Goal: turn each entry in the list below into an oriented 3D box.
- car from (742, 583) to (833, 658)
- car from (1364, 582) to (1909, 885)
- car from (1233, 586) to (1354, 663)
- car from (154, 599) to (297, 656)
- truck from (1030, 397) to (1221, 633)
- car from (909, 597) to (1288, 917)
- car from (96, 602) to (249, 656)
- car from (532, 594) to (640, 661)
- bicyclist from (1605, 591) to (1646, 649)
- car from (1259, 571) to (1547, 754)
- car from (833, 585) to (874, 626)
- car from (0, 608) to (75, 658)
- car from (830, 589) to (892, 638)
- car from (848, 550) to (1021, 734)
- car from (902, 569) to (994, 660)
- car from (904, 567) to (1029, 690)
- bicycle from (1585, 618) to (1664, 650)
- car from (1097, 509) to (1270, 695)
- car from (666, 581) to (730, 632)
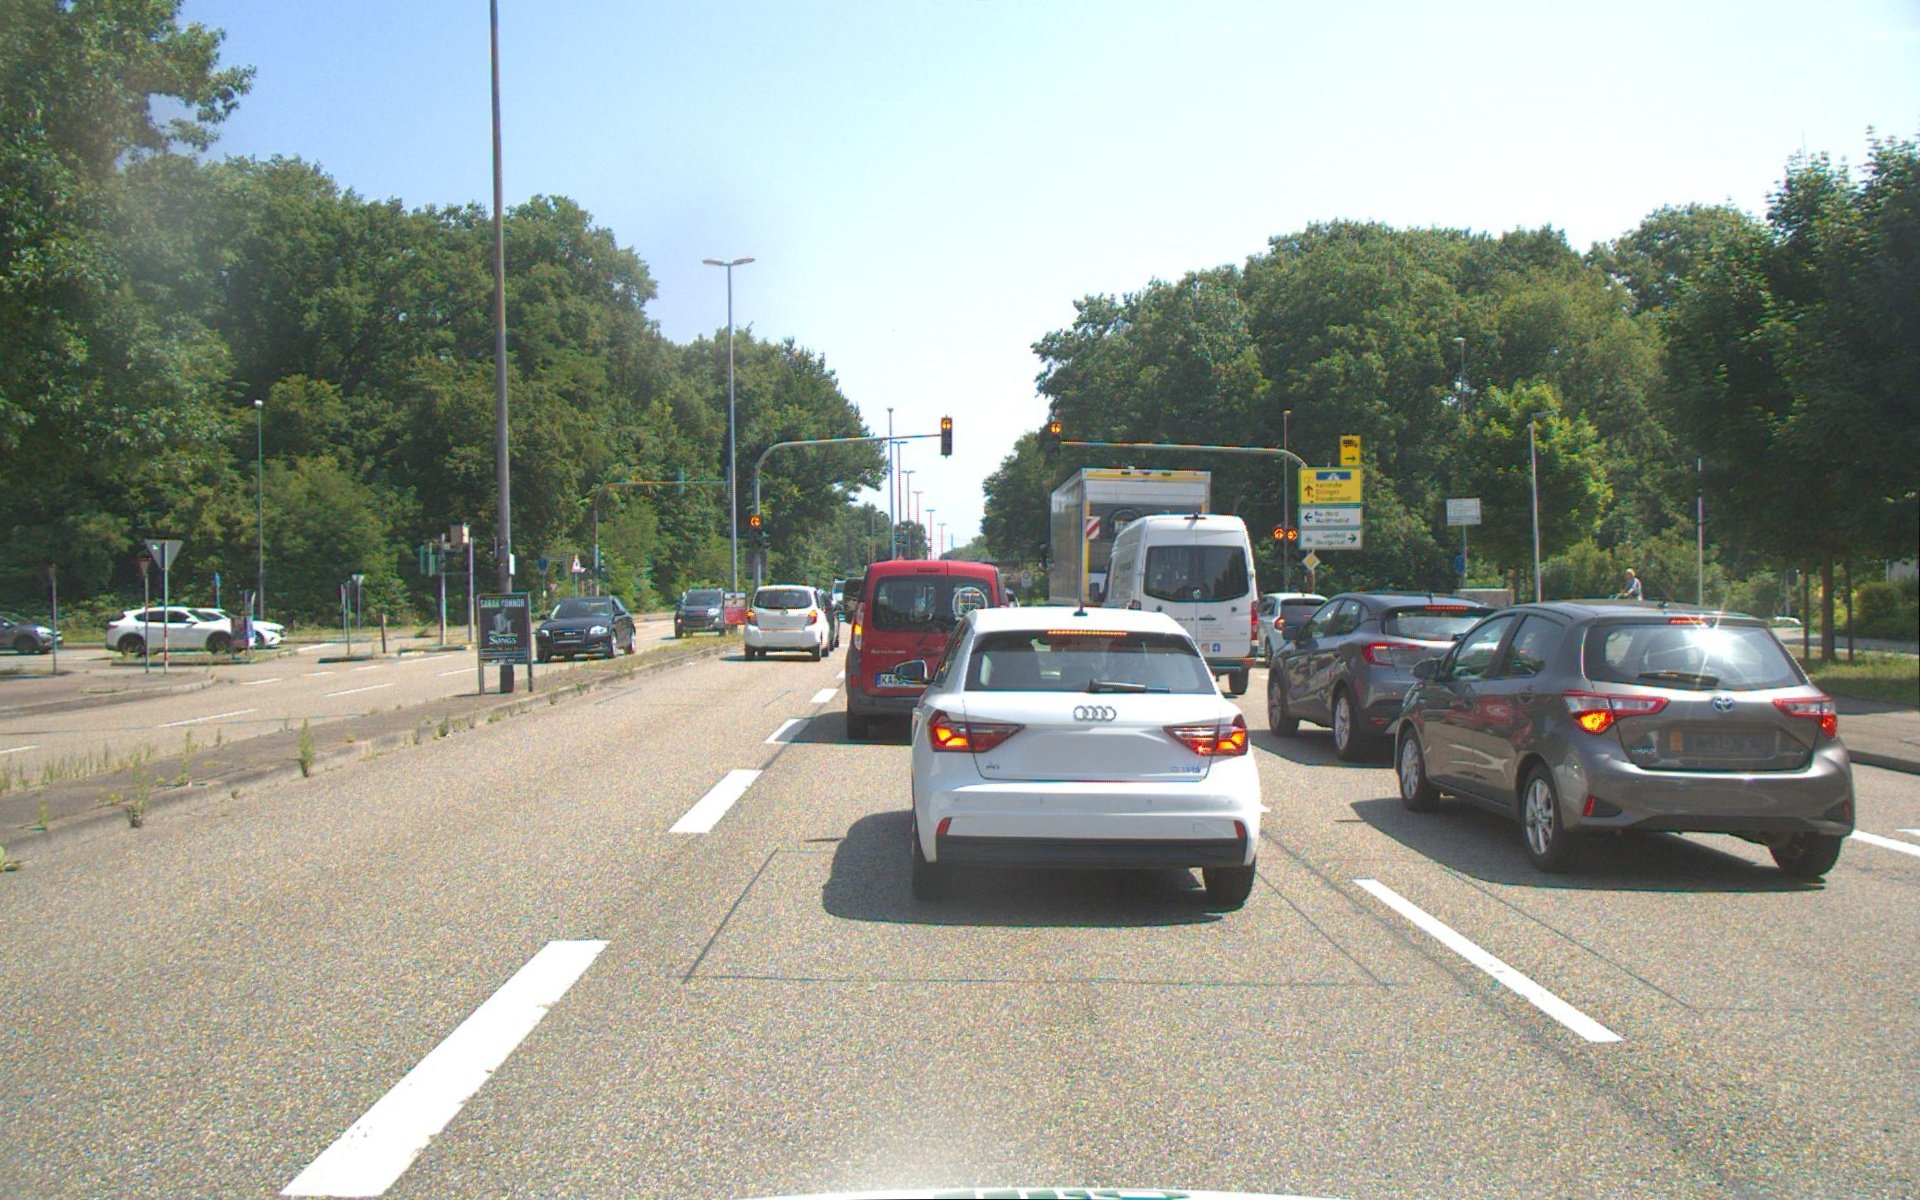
[{"bbox_3d":[-3.653,0.400,35.570,1.677,1.519,4.090,0,0,-2],"label":"car"},{"bbox_3d":[4.053,0.689,10.716,1.677,1.504,4.090,3,0,-2],"label":"car"},{"bbox_3d":[7.187,0.484,36.003,1.677,1.573,4.090,0,0,-2],"label":"car"},{"bbox_3d":[-26.537,0.971,59.903,4.291,1.710,1.807,-4,0,-9],"label":"car"},{"bbox_3d":[3.448,-1.688,37.770,3.025,4.511,11.578,1,0,-1],"label":"truck"},{"bbox_3d":[0.564,0.704,9.481,1.677,1.410,4.090,0,0,-2],"label":"car"},{"bbox_3d":[-26.558,0.977,55.891,4.289,1.711,1.807,1,0,-9],"label":"car"},{"bbox_3d":[-8.587,0.598,38.259,1.645,1.362,3.998,-3,1,-2],"label":"car"},{"bbox_3d":[17.109,0.511,42.528,0.810,1.464,0.599,-1,0,-3],"label":"bicyclist"},{"bbox_3d":[4.298,0.542,16.711,1.677,1.621,4.090,0,0,-2],"label":"car"},{"bbox_3d":[-5.486,0.257,84.730,1.955,2.049,3.995,-1,0,-6],"label":"car"},{"bbox_3d":[-34.126,1.155,58.795,4.293,1.711,1.805,1,-1,-12],"label":"car"},{"bbox_3d":[-4.421,0.573,73.162,1.961,2.049,3.983,-1,0,-15],"label":"car"},{"bbox_3d":[-0.320,0.393,18.138,1.677,1.779,4.090,0,0,-2],"label":"car"},{"bbox_3d":[-0.291,0.253,32.432,1.677,1.660,4.090,0,0,-2],"label":"car"},{"bbox_3d":[0.024,0.375,24.624,1.677,1.660,4.090,0,0,-2],"label":"car"},{"bbox_3d":[17.070,0.873,42.518,1.784,0.779,0.600,-1,0,-2],"label":"bicycle"},{"bbox_3d":[3.459,0.011,26.512,1.990,2.690,4.844,0,0,-1],"label":"car"},{"bbox_3d":[-9.030,0.210,57.248,1.653,1.628,3.883,-3,0,-2],"label":"car"}]
